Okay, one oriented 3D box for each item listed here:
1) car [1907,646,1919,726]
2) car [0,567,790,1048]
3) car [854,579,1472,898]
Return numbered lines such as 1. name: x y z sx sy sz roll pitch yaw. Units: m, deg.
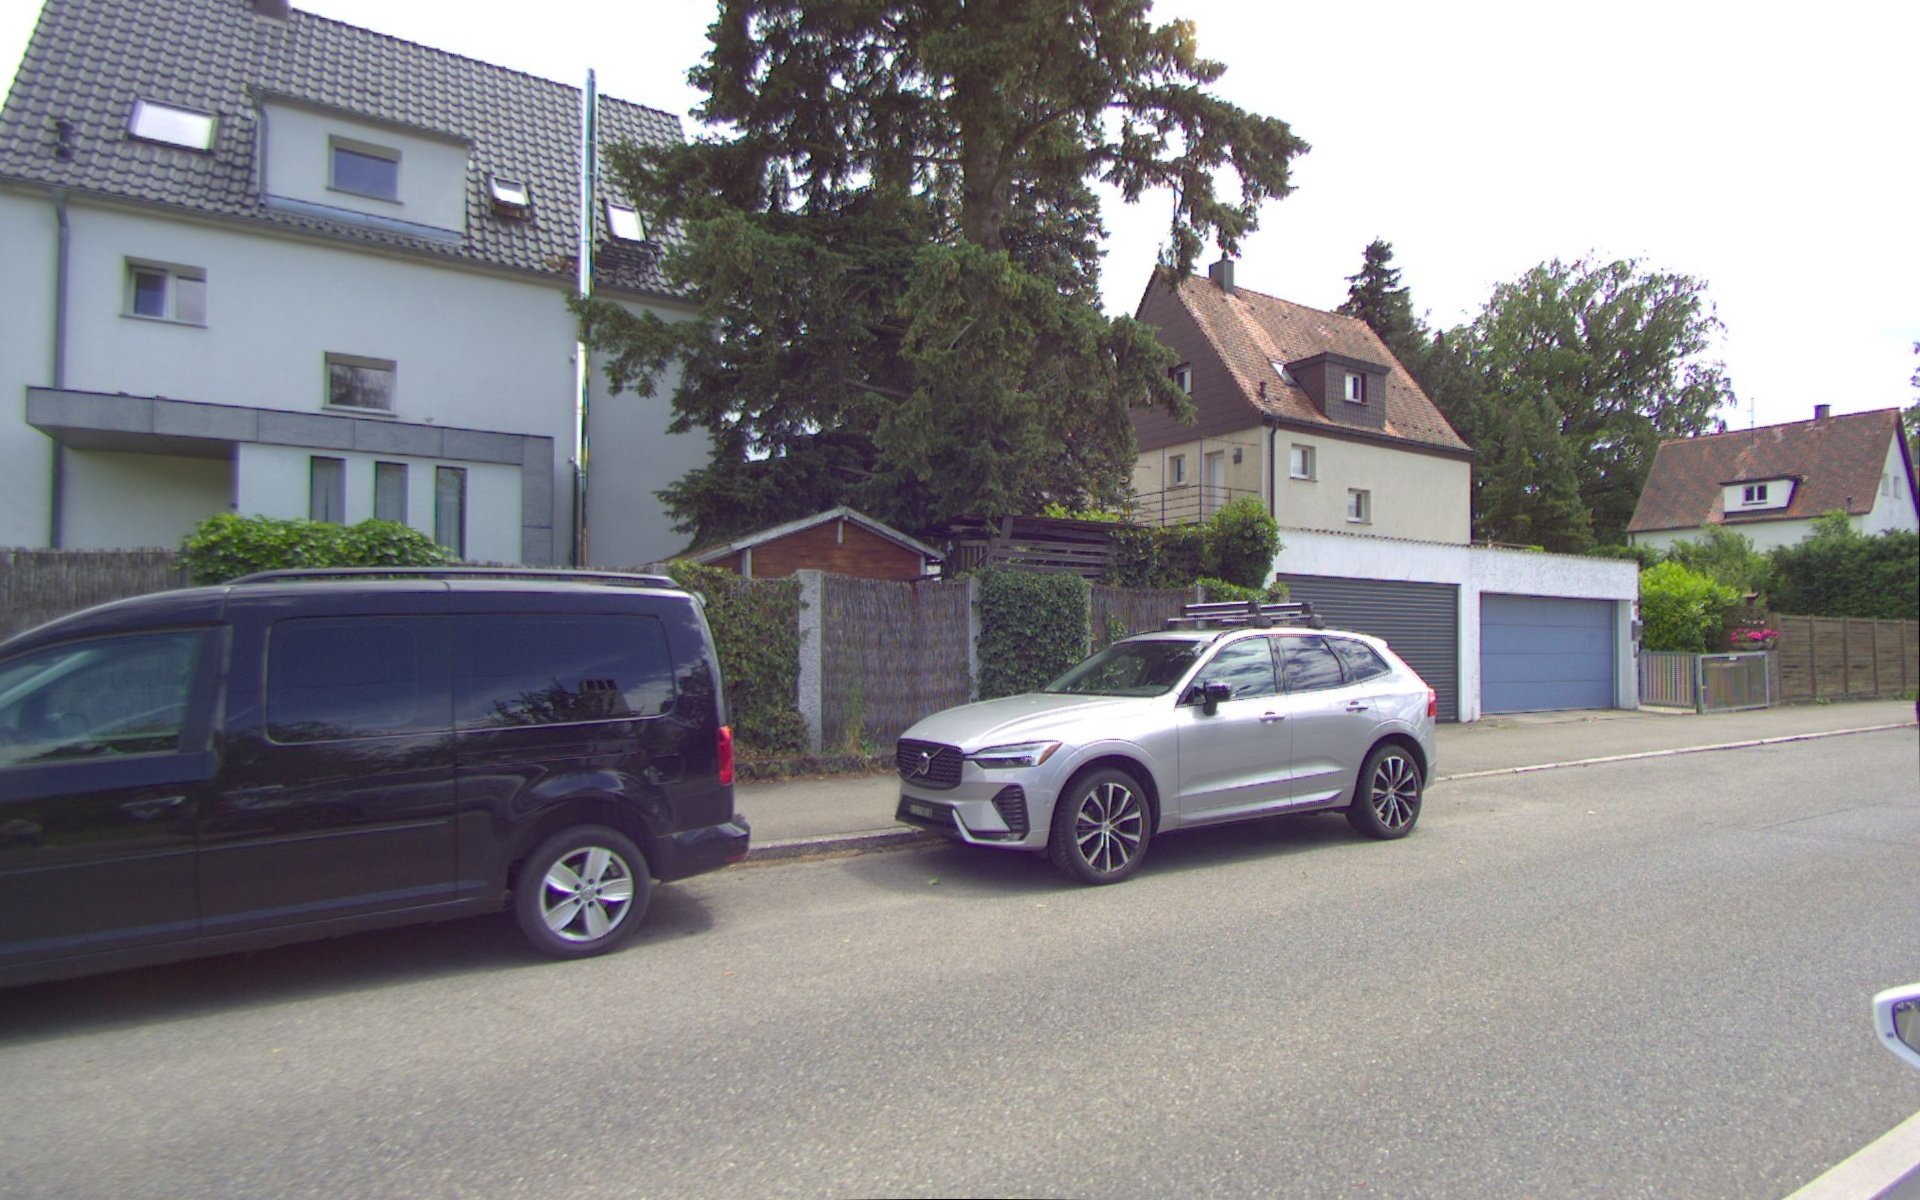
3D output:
1. car: 19.274 1.558 18.696 3.867 1.445 1.641 1 -3 -35
2. car: -3.493 0.779 4.942 4.828 1.778 2.056 1 0 -31
3. car: 1.691 0.855 7.877 4.652 1.843 1.975 1 -2 -31
